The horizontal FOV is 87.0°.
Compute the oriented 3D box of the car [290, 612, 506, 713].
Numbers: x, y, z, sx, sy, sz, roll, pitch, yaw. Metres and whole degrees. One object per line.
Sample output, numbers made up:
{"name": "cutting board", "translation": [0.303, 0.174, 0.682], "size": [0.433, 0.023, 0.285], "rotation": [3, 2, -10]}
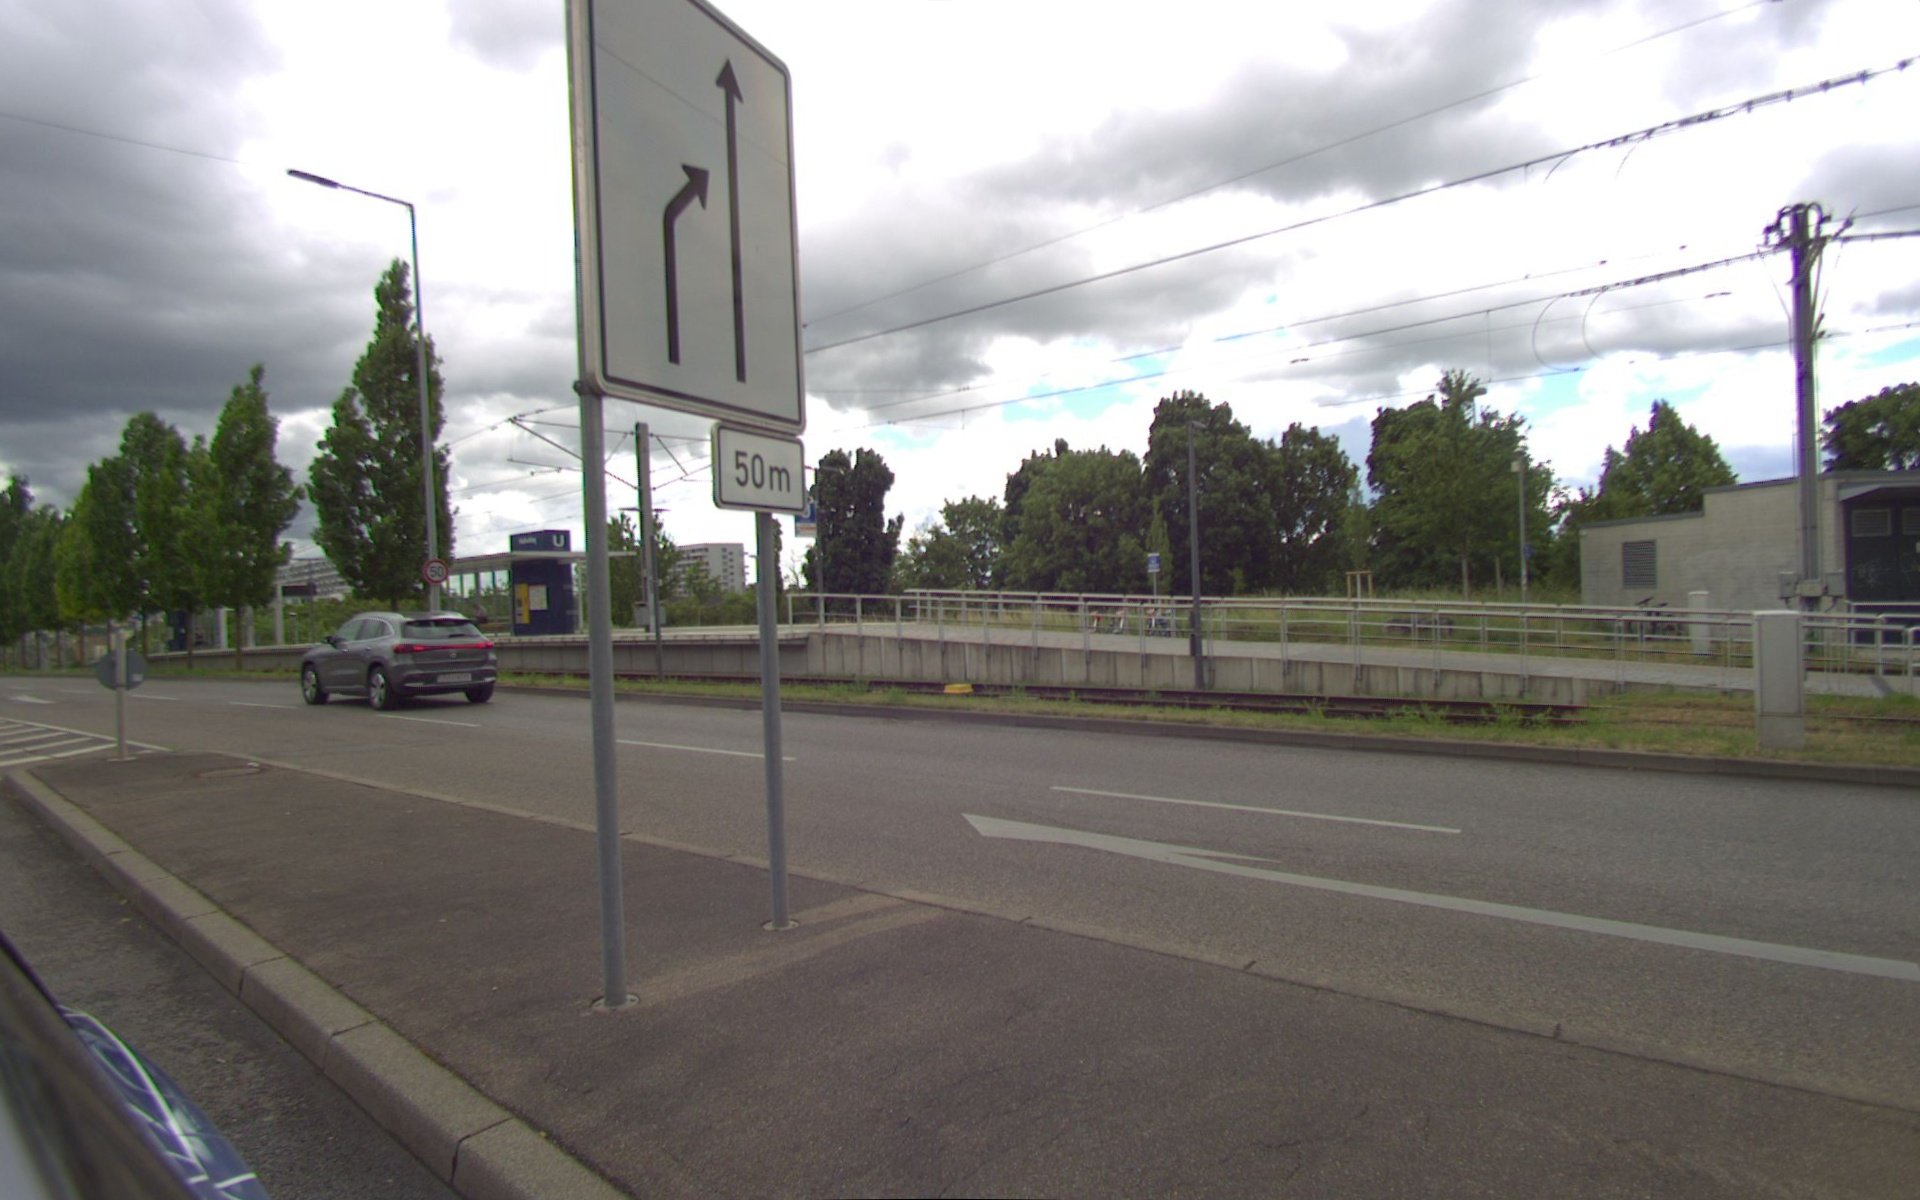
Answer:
{"name": "car", "translation": [-9.928, 1.030, 17.753], "size": [4.217, 1.558, 1.762], "rotation": [-2, -1, 37]}

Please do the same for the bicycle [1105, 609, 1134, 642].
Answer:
{"name": "bicycle", "translation": [5.440, 0.866, 34.450], "size": [0.490, 1.095, 1.466], "rotation": [-2, -1, 30]}

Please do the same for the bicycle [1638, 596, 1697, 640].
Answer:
{"name": "bicycle", "translation": [18.194, 0.457, 26.050], "size": [0.486, 1.095, 1.480], "rotation": [-1, -1, 3]}

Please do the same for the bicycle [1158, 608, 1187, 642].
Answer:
{"name": "bicycle", "translation": [7.046, 0.814, 33.459], "size": [0.490, 1.095, 1.466], "rotation": [-2, -1, 30]}

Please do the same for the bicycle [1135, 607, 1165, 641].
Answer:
{"name": "bicycle", "translation": [6.380, 0.801, 33.939], "size": [0.490, 1.095, 1.466], "rotation": [-2, -1, 30]}

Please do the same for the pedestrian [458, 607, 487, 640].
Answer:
{"name": "pedestrian", "translation": [-18.251, 0.876, 37.865], "size": [0.781, 1.211, 0.656], "rotation": [-2, -1, 33]}

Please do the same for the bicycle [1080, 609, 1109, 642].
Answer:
{"name": "bicycle", "translation": [4.683, 0.881, 35.152], "size": [0.490, 1.095, 1.466], "rotation": [-2, -1, 30]}
